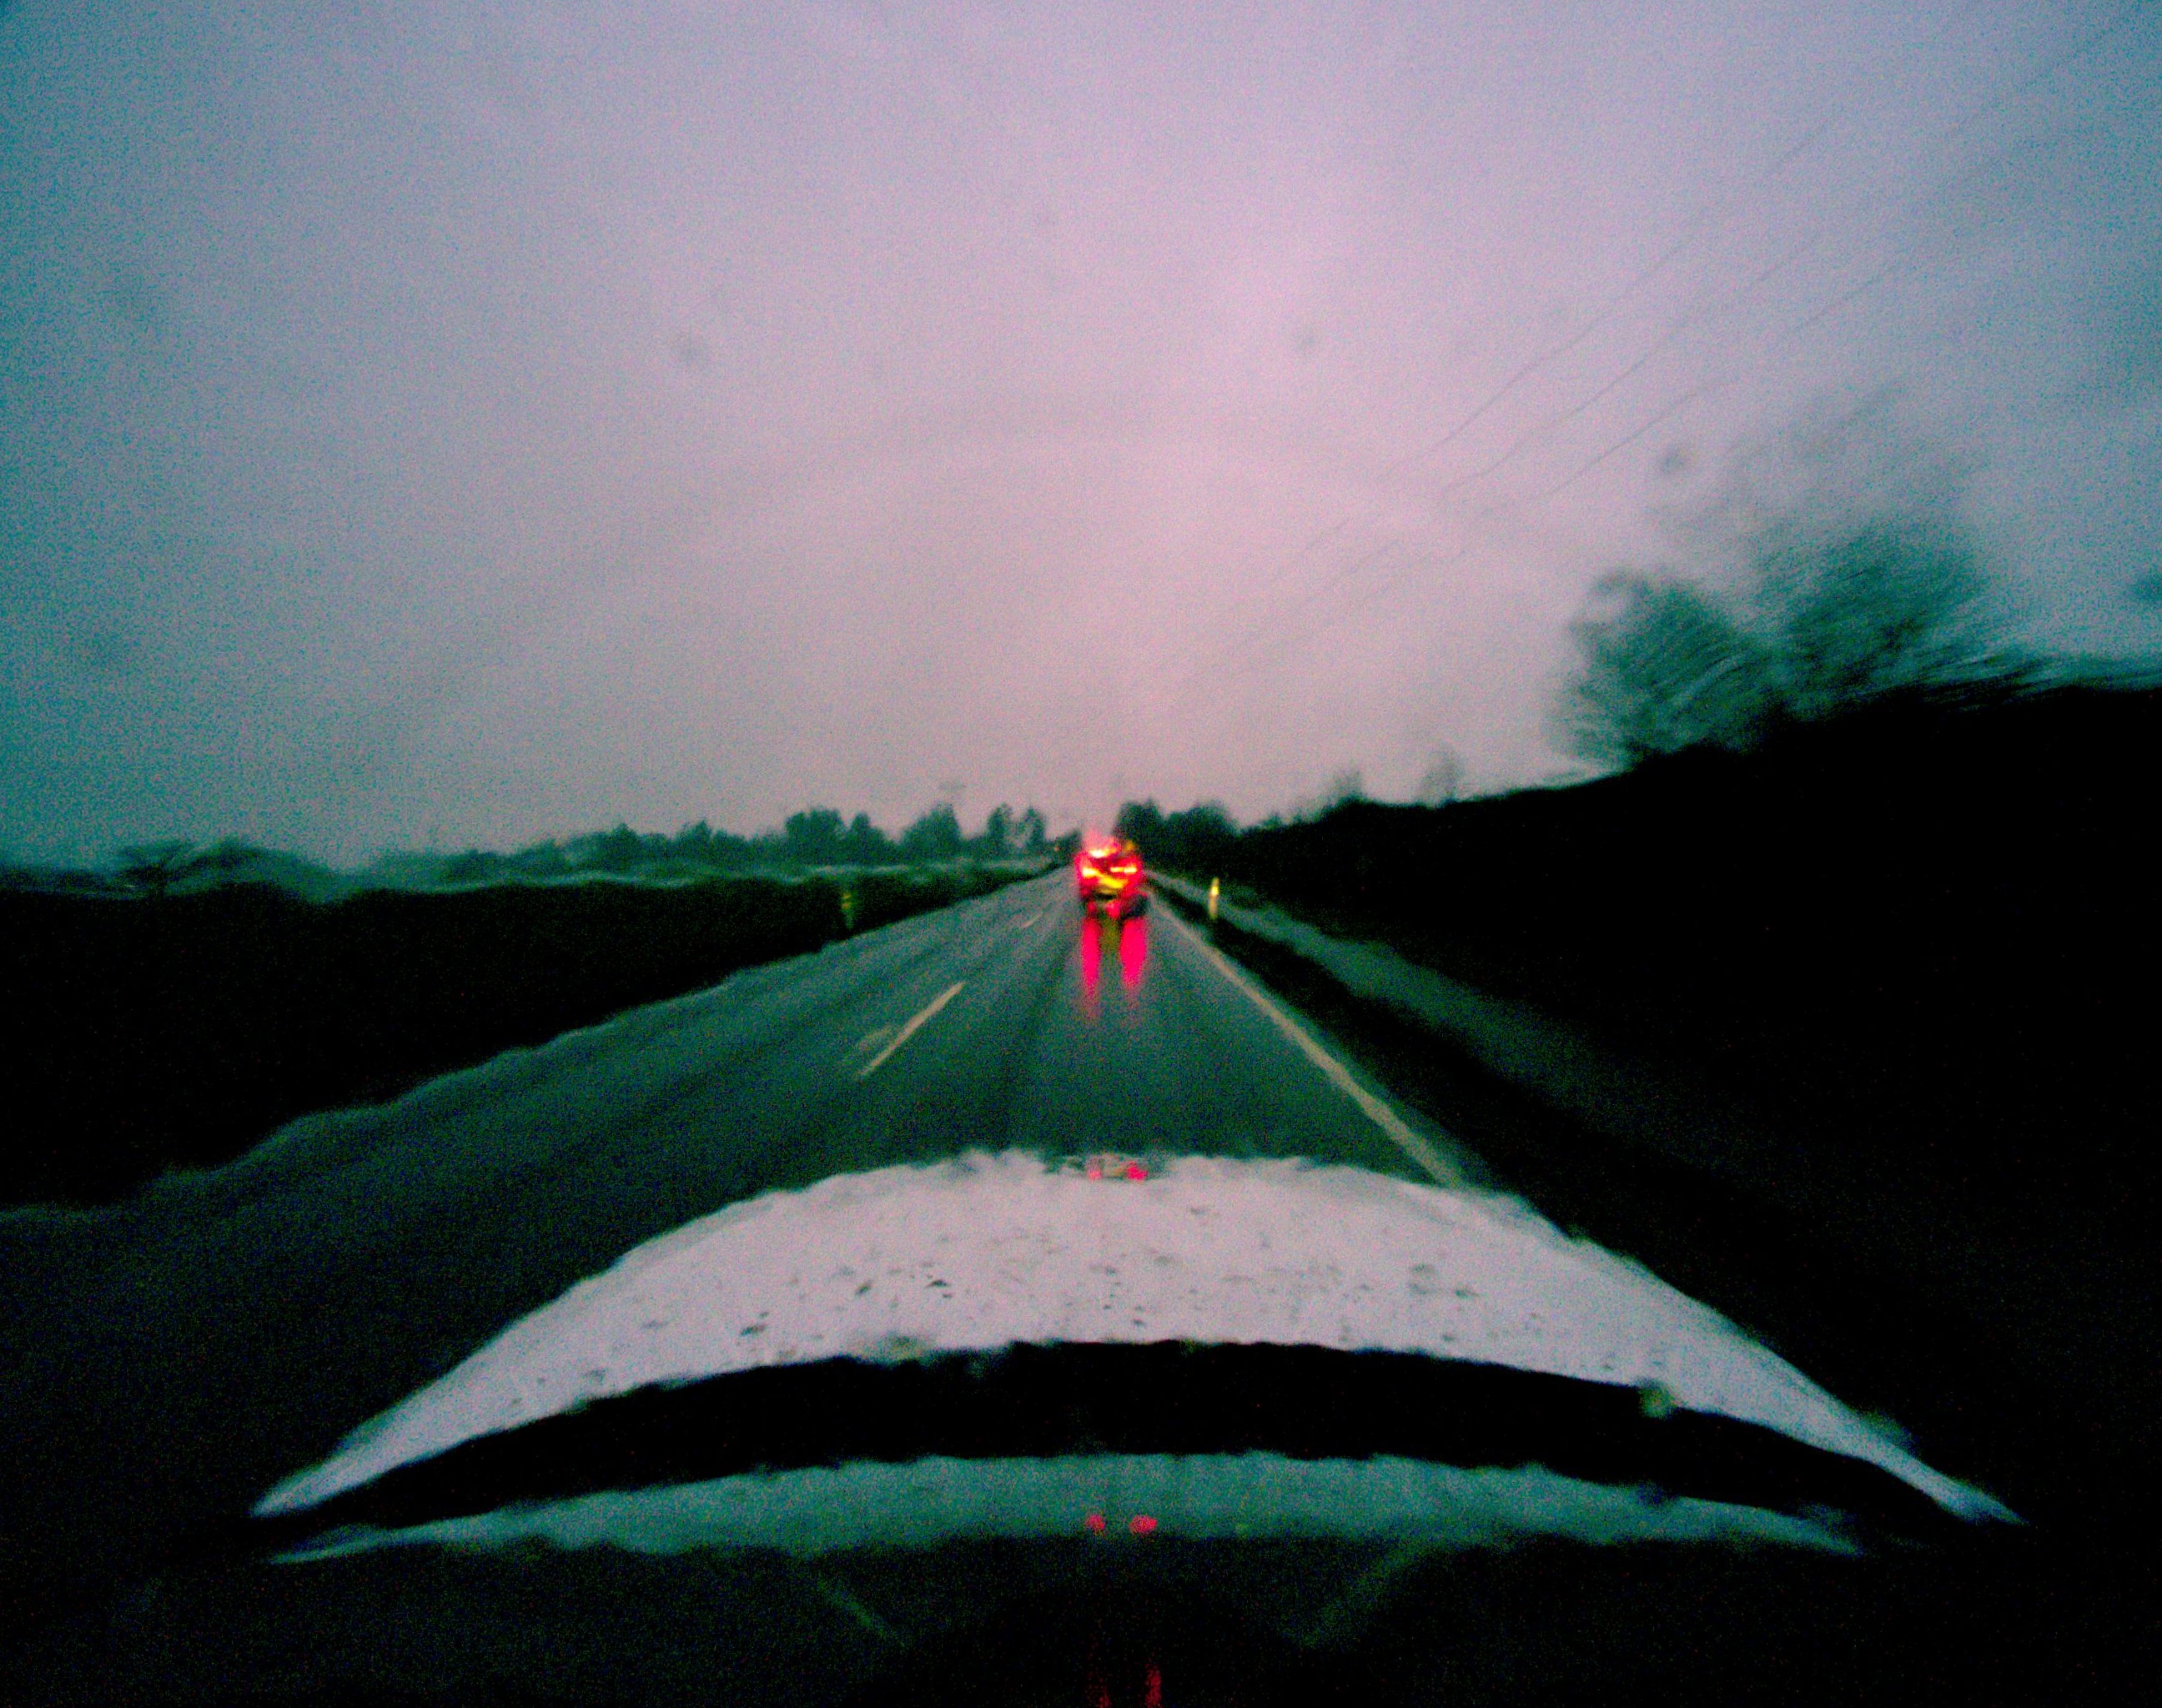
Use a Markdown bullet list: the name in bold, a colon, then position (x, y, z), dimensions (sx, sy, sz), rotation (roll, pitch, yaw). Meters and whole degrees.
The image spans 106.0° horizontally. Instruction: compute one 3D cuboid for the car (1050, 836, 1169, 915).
- **car**: position (0.919, 0.581, 25.524), dimensions (3.152, 2.035, 6.855), rotation (-2, 0, 2)
